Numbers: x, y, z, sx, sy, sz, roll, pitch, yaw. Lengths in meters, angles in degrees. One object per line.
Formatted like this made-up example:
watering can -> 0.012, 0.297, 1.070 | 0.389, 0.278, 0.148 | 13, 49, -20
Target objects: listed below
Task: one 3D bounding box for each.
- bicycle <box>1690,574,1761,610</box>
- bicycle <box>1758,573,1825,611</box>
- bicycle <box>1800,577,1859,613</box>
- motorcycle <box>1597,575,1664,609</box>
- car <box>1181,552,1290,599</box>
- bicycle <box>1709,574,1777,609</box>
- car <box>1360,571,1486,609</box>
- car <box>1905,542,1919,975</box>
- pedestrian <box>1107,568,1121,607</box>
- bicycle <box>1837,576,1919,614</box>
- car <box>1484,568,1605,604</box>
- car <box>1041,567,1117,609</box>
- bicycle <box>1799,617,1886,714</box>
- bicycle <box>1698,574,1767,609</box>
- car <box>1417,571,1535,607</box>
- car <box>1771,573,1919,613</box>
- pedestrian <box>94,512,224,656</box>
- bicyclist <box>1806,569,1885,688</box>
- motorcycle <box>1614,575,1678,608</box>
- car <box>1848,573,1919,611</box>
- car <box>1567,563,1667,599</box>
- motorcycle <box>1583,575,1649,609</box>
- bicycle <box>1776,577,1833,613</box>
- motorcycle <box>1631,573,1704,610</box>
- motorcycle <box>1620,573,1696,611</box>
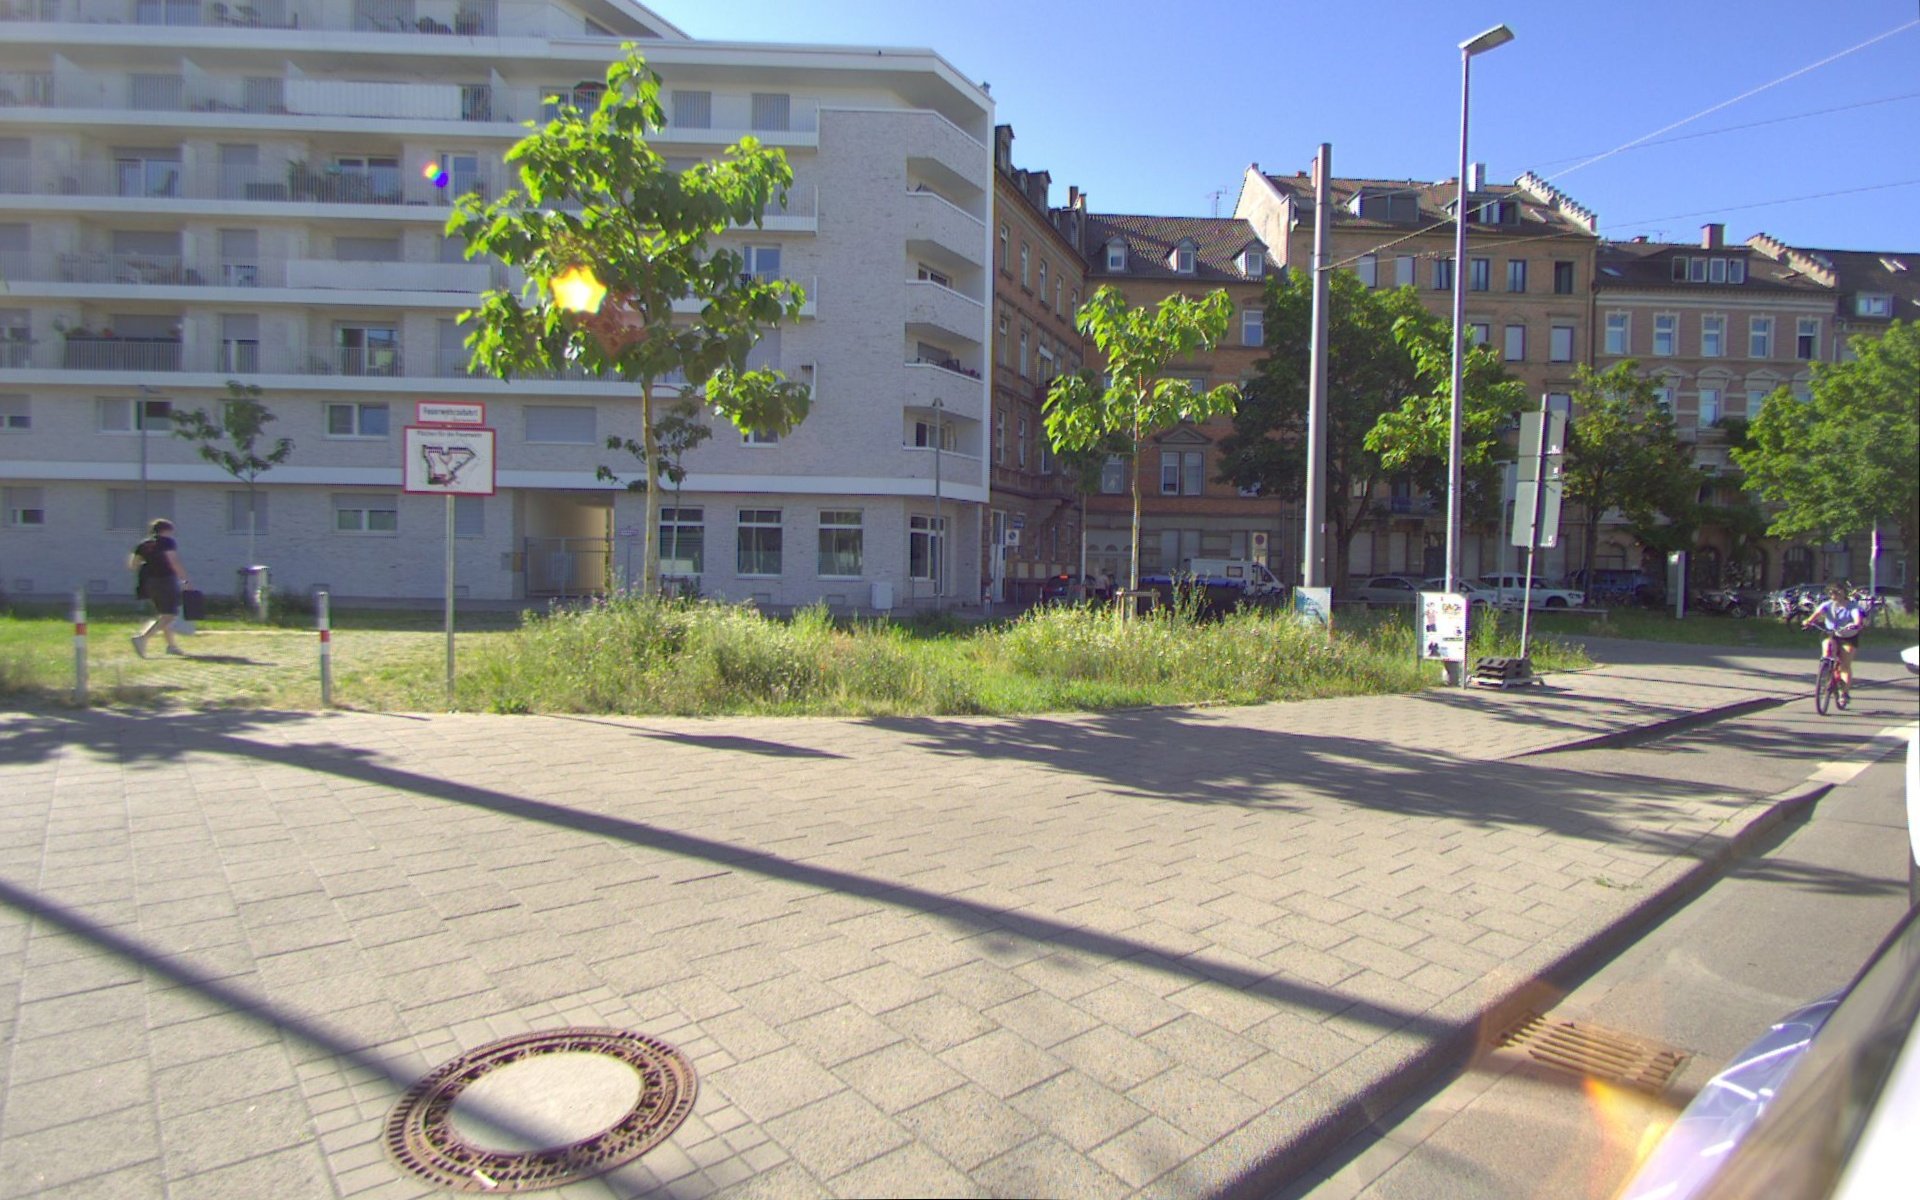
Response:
bicycle -> 28.369, -0.304, 37.560 | 0.649, 1.284, 2.208 | 0, 0, -11
bicycle -> 29.273, -0.286, 35.668 | 0.651, 1.284, 2.202 | 0, 0, 4
bicycle -> 32.034, -0.187, 37.329 | 0.653, 1.284, 2.196 | 0, 0, 12
motorcycle -> 26.697, -0.330, 40.352 | 0.649, 1.300, 2.324 | 0, 0, -18
car -> 12.661, -1.147, 46.779 | 4.416, 2.062, 2.054 | 1, 2, 0
bicycle -> 29.723, -0.320, 38.458 | 0.649, 1.284, 2.208 | 0, 0, -9
car -> 17.348, -0.416, 38.103 | 1.648, 1.267, 4.170 | 0, 3, -28
car -> 5.867, 0.610, 4.712 | 4.323, 1.667, 1.840 | 0, 0, -43
pedestrian -> 5.770, -0.465, 37.890 | 0.500, 1.474, 0.480 | 0, 0, 11
bicycle -> 31.629, -0.161, 34.758 | 2.180, 1.284, 0.657 | 0, 0, 25
car -> 22.328, -0.572, 38.769 | 1.513, 1.267, 3.700 | -1, 3, -39
car -> 4.566, -0.499, 38.294 | 1.811, 1.444, 4.359 | 1, 2, 21
bicycle -> 11.305, 0.794, 12.947 | 1.790, 1.085, 0.667 | 0, 3, -45
bicycle -> 29.080, -0.314, 38.147 | 0.649, 1.284, 2.208 | 0, 0, -9
car -> 19.672, -0.462, 38.713 | 1.648, 1.267, 3.709 | 0, 3, -28
car -> 34.685, -0.315, 39.587 | 1.651, 1.423, 4.324 | -1, 3, -38
pedestrian -> -10.030, -0.211, 12.709 | 0.829, 1.717, 0.985 | 2, 2, 2
bicyclist -> 11.262, 0.339, 12.870 | 0.924, 1.454, 0.667 | 1, 0, -44
motorcycle -> 27.488, -0.329, 40.606 | 0.649, 1.284, 2.209 | 0, 0, -18
car -> 37.822, -0.323, 39.956 | 1.649, 1.423, 3.832 | -1, 3, -32
car -> 30.875, -0.914, 47.645 | 3.631, 1.607, 1.552 | 1, 2, 0
motorcycle -> 26.026, -0.322, 40.220 | 0.649, 1.293, 2.324 | 0, 0, -18
bicycle -> 30.940, -0.179, 37.105 | 0.653, 1.284, 2.196 | 0, 0, 12
motorcycle -> 26.154, -0.315, 37.463 | 0.649, 1.339, 2.208 | 0, 0, -23
motorcycle -> 25.338, -0.300, 36.775 | 0.650, 1.347, 2.207 | 0, 0, -28
